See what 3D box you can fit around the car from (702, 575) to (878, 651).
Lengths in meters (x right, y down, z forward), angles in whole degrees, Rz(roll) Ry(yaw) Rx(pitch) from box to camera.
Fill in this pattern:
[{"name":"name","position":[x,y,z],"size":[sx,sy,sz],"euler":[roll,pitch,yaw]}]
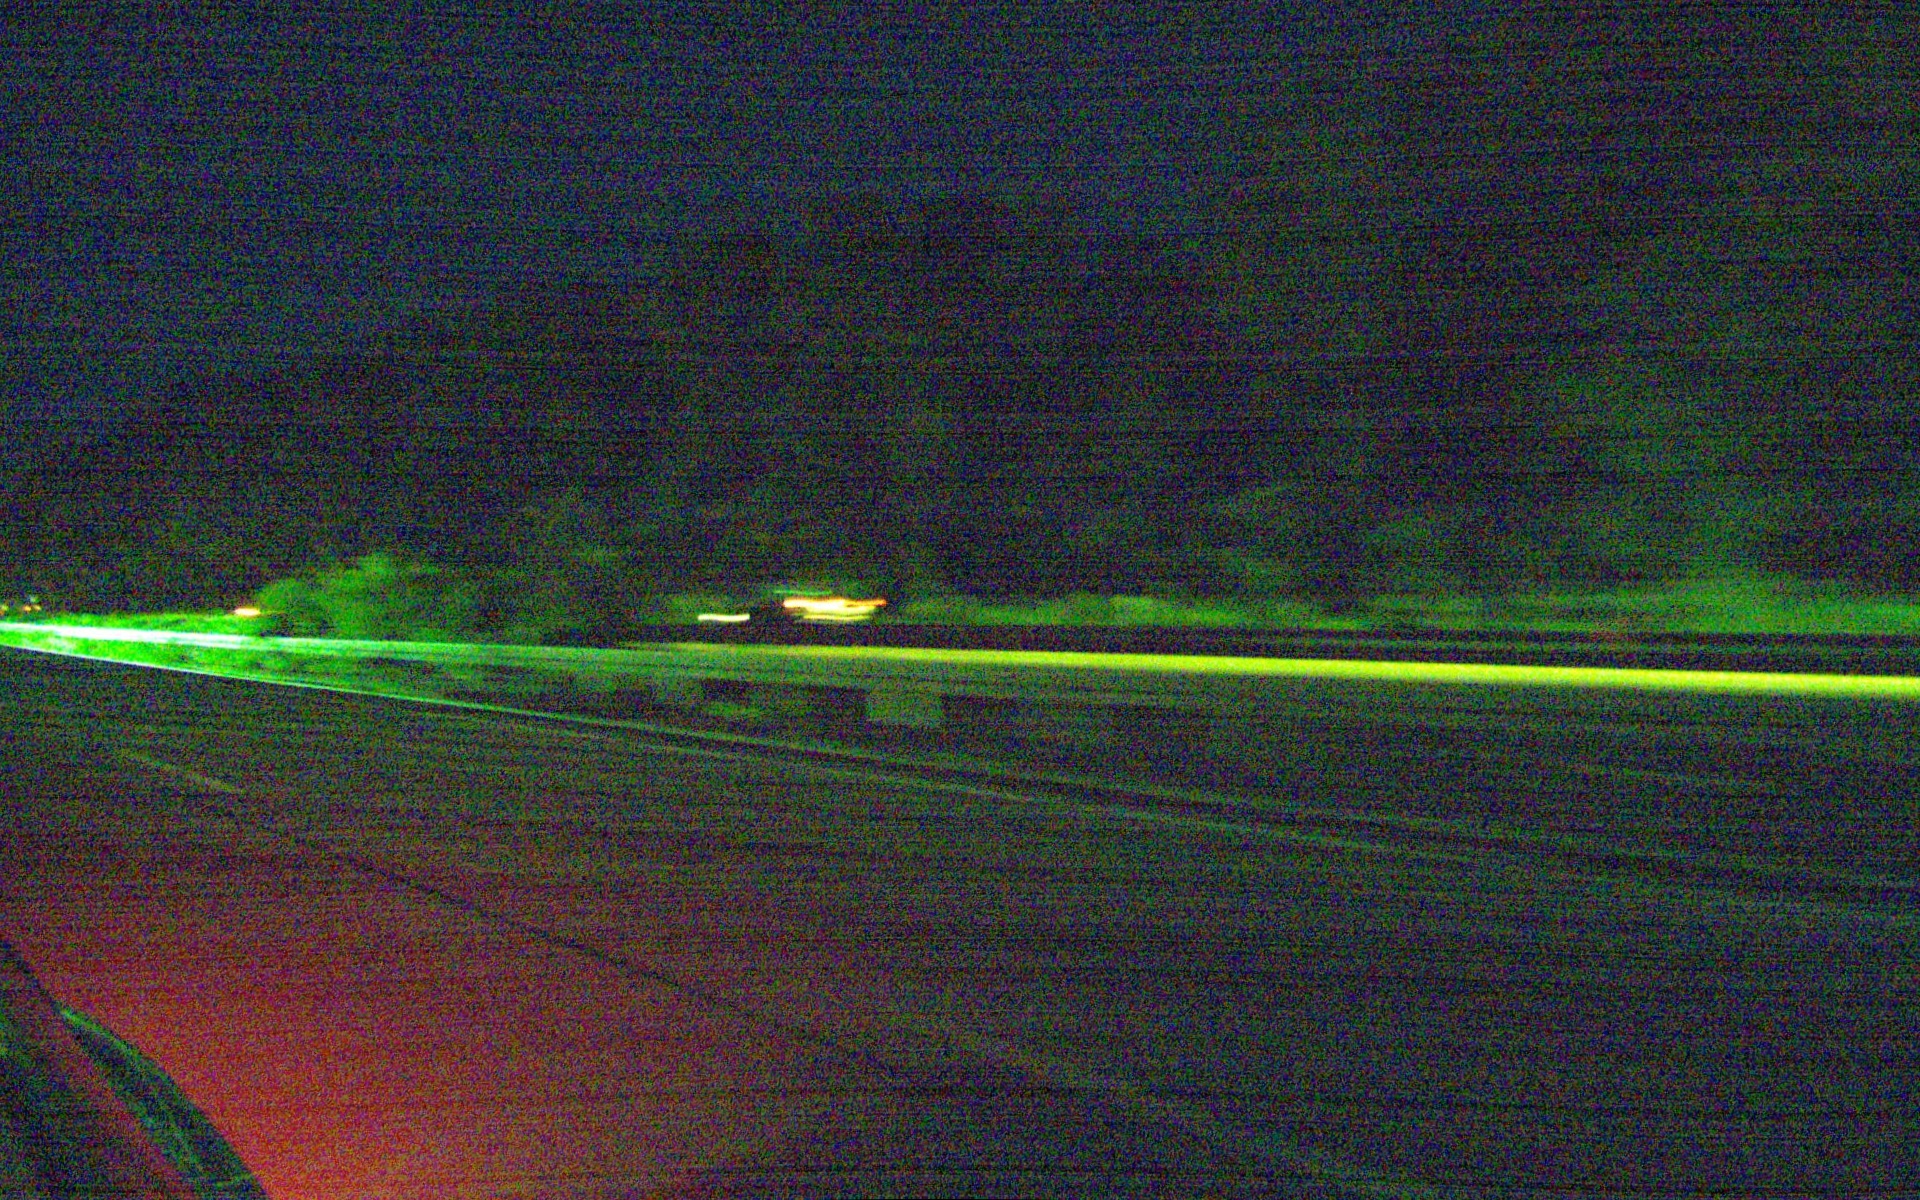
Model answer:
[{"name":"car","position":[-4.029,0.276,23.720],"size":[3.996,1.526,1.843],"euler":[-1,4,39]}]

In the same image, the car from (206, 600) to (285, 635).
[{"name":"car","position":[-33.220,0.803,47.034],"size":[4.333,1.468,1.938],"euler":[-1,1,40]}]
